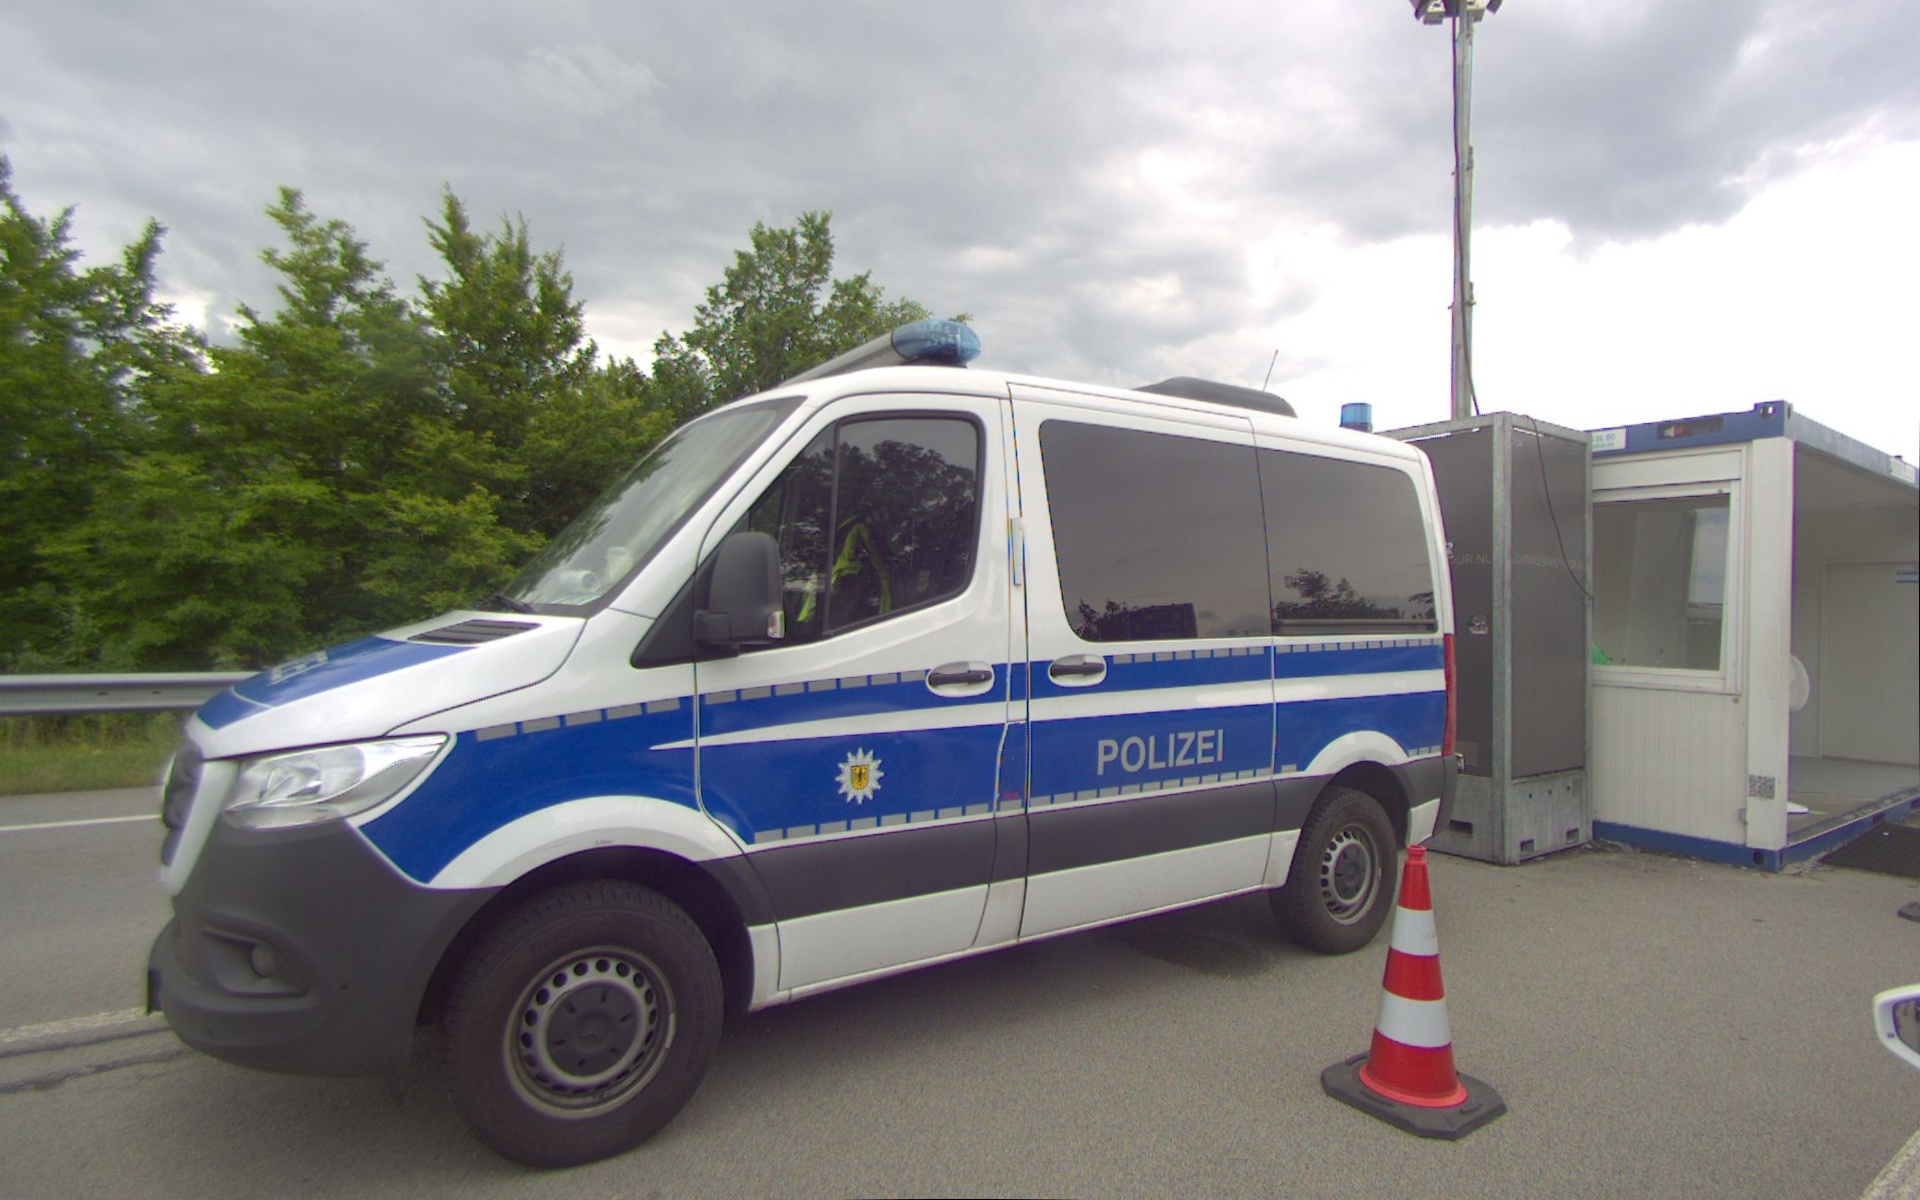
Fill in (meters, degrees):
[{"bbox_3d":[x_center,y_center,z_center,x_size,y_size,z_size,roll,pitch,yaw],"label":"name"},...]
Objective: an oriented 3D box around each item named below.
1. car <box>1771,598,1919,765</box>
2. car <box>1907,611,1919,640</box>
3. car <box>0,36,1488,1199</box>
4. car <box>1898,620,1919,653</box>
[{"bbox_3d":[11.641,0.910,12.079,3.967,1.766,1.857,1,0,-34],"label":"car"},{"bbox_3d":[78.162,2.082,81.527,1.836,2.252,4.231,1,0,44],"label":"car"},{"bbox_3d":[-0.204,0.234,4.204,5.224,2.496,2.017,1,0,-34],"label":"car"},{"bbox_3d":[46.398,1.737,48.175,4.228,1.518,1.837,2,-1,-44],"label":"car"}]
